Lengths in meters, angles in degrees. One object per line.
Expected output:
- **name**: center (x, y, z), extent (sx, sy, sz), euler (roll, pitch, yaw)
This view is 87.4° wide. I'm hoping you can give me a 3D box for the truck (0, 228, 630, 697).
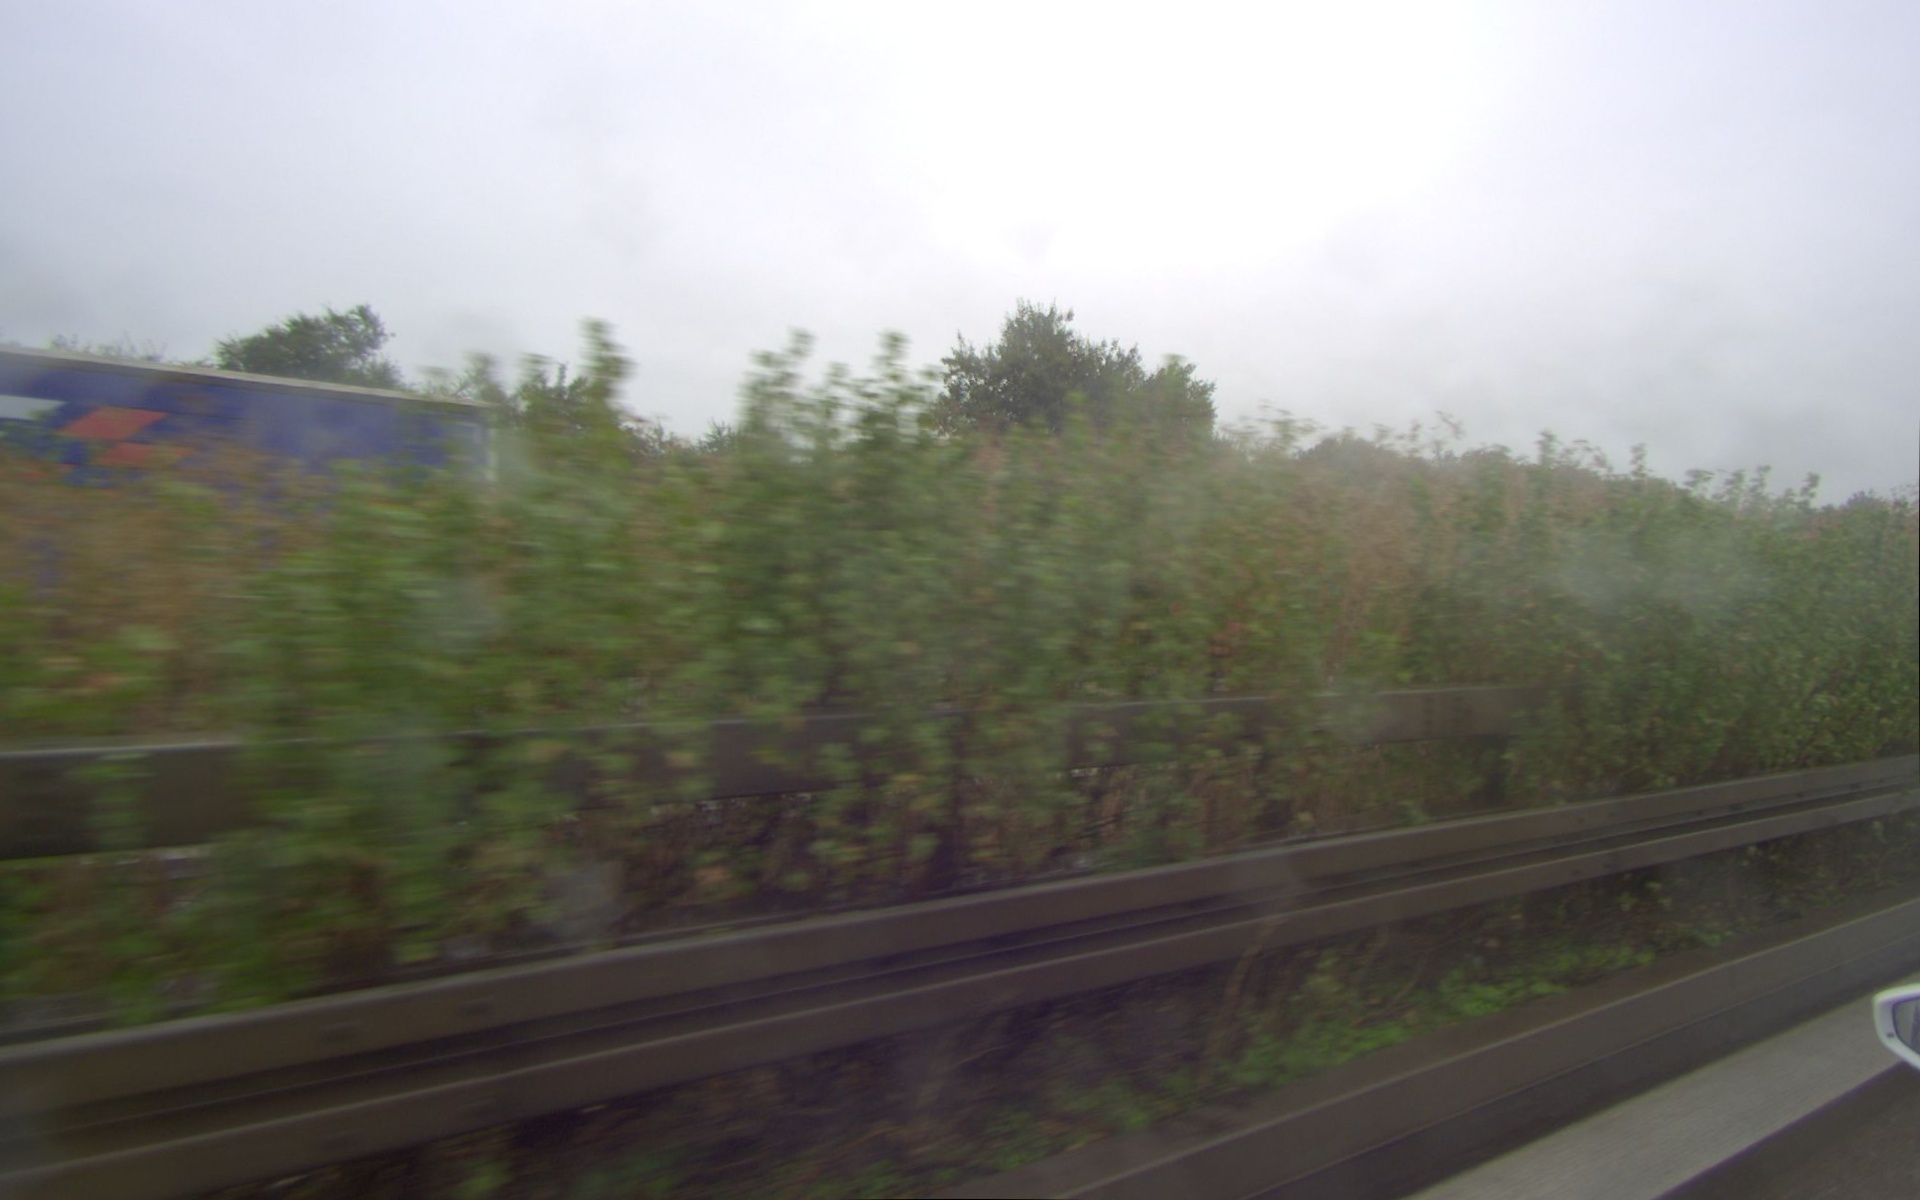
- **truck**: center (-13.635, -1.530, 11.830), extent (18.014, 5.112, 4.682), euler (0, 0, -31)
